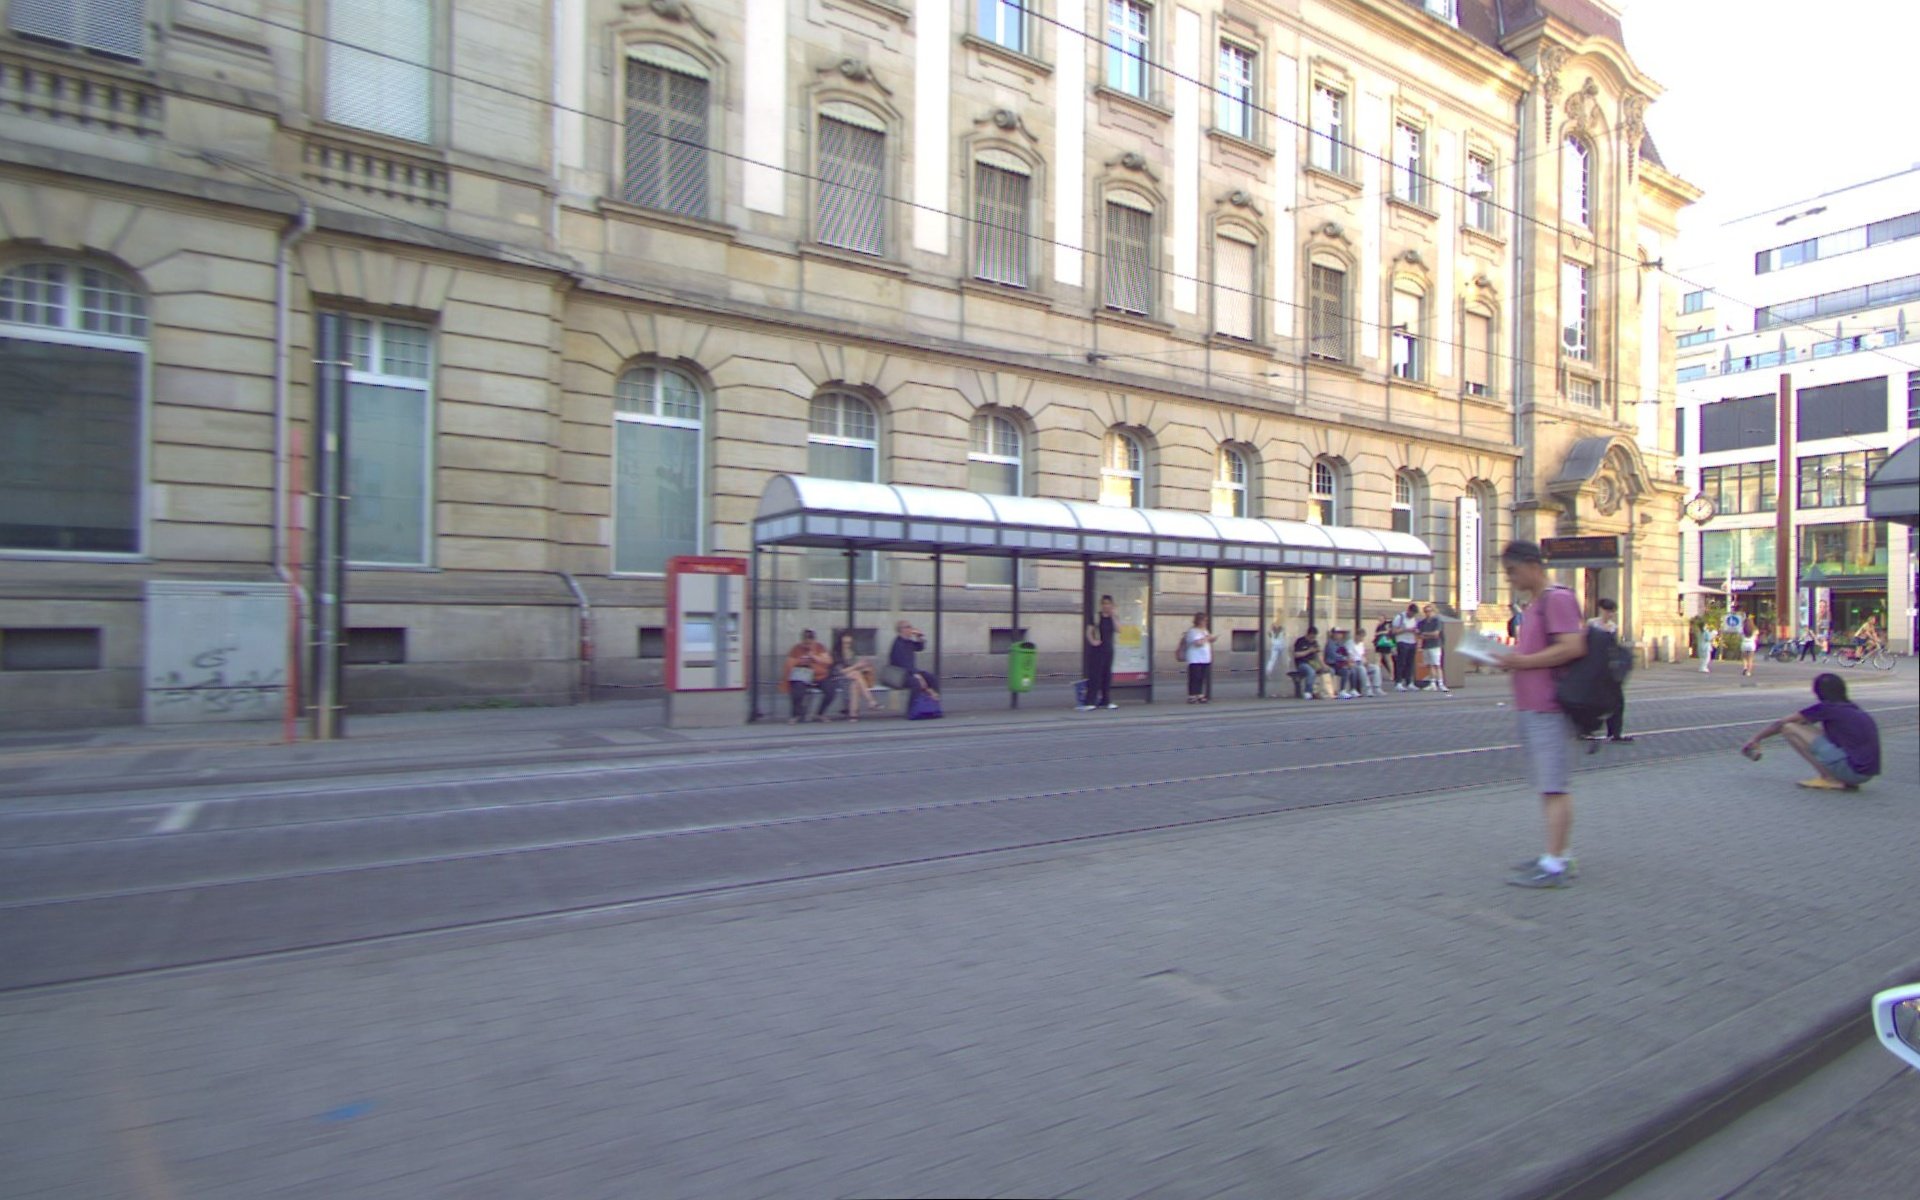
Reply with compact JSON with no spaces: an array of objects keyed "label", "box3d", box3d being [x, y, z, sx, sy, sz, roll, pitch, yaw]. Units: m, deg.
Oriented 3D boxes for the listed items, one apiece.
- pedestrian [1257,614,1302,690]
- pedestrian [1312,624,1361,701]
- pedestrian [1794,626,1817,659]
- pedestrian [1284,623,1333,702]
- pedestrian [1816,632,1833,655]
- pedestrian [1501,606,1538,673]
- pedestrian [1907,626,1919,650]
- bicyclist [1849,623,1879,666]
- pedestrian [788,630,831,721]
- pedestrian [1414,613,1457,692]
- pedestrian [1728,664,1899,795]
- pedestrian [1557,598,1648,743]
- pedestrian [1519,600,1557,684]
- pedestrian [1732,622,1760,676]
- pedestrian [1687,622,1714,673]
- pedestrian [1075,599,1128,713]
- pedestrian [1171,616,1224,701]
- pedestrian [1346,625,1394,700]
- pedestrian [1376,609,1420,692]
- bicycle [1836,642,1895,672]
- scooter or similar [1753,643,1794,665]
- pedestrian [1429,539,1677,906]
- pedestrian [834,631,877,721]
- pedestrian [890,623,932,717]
[{"label":"pedestrian","box3d":[7.164,1.155,22.542,0.624,1.636,0.695,1,0,-33]},{"label":"pedestrian","box3d":[6.752,1.107,18.025,0.630,1.345,0.515,2,-1,-28]},{"label":"pedestrian","box3d":[36.667,1.840,43.560,0.413,1.439,0.636,1,-1,-30]},{"label":"pedestrian","box3d":[6.113,1.085,17.615,0.630,1.345,0.515,2,-1,-28]},{"label":"pedestrian","box3d":[37.064,1.850,43.059,0.413,0.978,0.419,1,-1,-30]},{"label":"pedestrian","box3d":[15.206,1.067,27.285,0.699,1.800,0.616,1,0,-35]},{"label":"pedestrian","box3d":[60.669,2.415,63.673,0.778,1.547,0.572,2,0,-20]},{"label":"bicyclist","box3d":[34.682,1.684,38.535,0.605,1.614,0.783,2,-1,-39]},{"label":"pedestrian","box3d":[-1.909,0.945,12.698,0.424,1.117,0.363,2,0,-26]},{"label":"pedestrian","box3d":[9.749,1.069,20.587,0.630,1.590,0.515,2,-1,-28]},{"label":"pedestrian","box3d":[6.829,1.013,8.071,0.680,0.951,0.799,1,0,-9]},{"label":"pedestrian","box3d":[7.837,0.849,12.273,0.626,1.713,0.676,2,-1,-9]},{"label":"pedestrian","box3d":[12.575,0.902,21.857,0.464,1.800,0.555,1,0,-36]},{"label":"pedestrian","box3d":[23.051,1.424,29.460,0.498,1.545,0.521,1,0,-38]},{"label":"pedestrian","box3d":[23.023,1.475,31.224,0.514,1.545,0.497,1,0,-31]},{"label":"pedestrian","box3d":[2.127,0.829,15.103,0.626,1.672,0.518,2,-1,-10]},{"label":"pedestrian","box3d":[3.867,0.944,16.346,0.630,1.345,0.515,2,-1,-28]},{"label":"pedestrian","box3d":[7.516,1.133,18.425,0.630,1.345,0.515,2,-1,-28]},{"label":"pedestrian","box3d":[8.933,1.026,20.476,0.630,1.667,0.515,2,-1,-28]},{"label":"bicycle","box3d":[34.683,2.182,38.507,0.625,1.118,1.607,3,-3,-39]},{"label":"scooter or similar","box3d":[35.484,2.334,43.821,0.877,0.916,1.091,1,-1,-23]},{"label":"pedestrian","box3d":[2.881,0.555,4.961,0.843,1.659,0.688,1,0,9]},{"label":"pedestrian","box3d":[-1.341,0.964,12.876,0.424,1.117,0.363,2,0,-26]},{"label":"pedestrian","box3d":[-0.657,0.918,13.363,0.424,1.216,0.363,2,0,-26]}]
